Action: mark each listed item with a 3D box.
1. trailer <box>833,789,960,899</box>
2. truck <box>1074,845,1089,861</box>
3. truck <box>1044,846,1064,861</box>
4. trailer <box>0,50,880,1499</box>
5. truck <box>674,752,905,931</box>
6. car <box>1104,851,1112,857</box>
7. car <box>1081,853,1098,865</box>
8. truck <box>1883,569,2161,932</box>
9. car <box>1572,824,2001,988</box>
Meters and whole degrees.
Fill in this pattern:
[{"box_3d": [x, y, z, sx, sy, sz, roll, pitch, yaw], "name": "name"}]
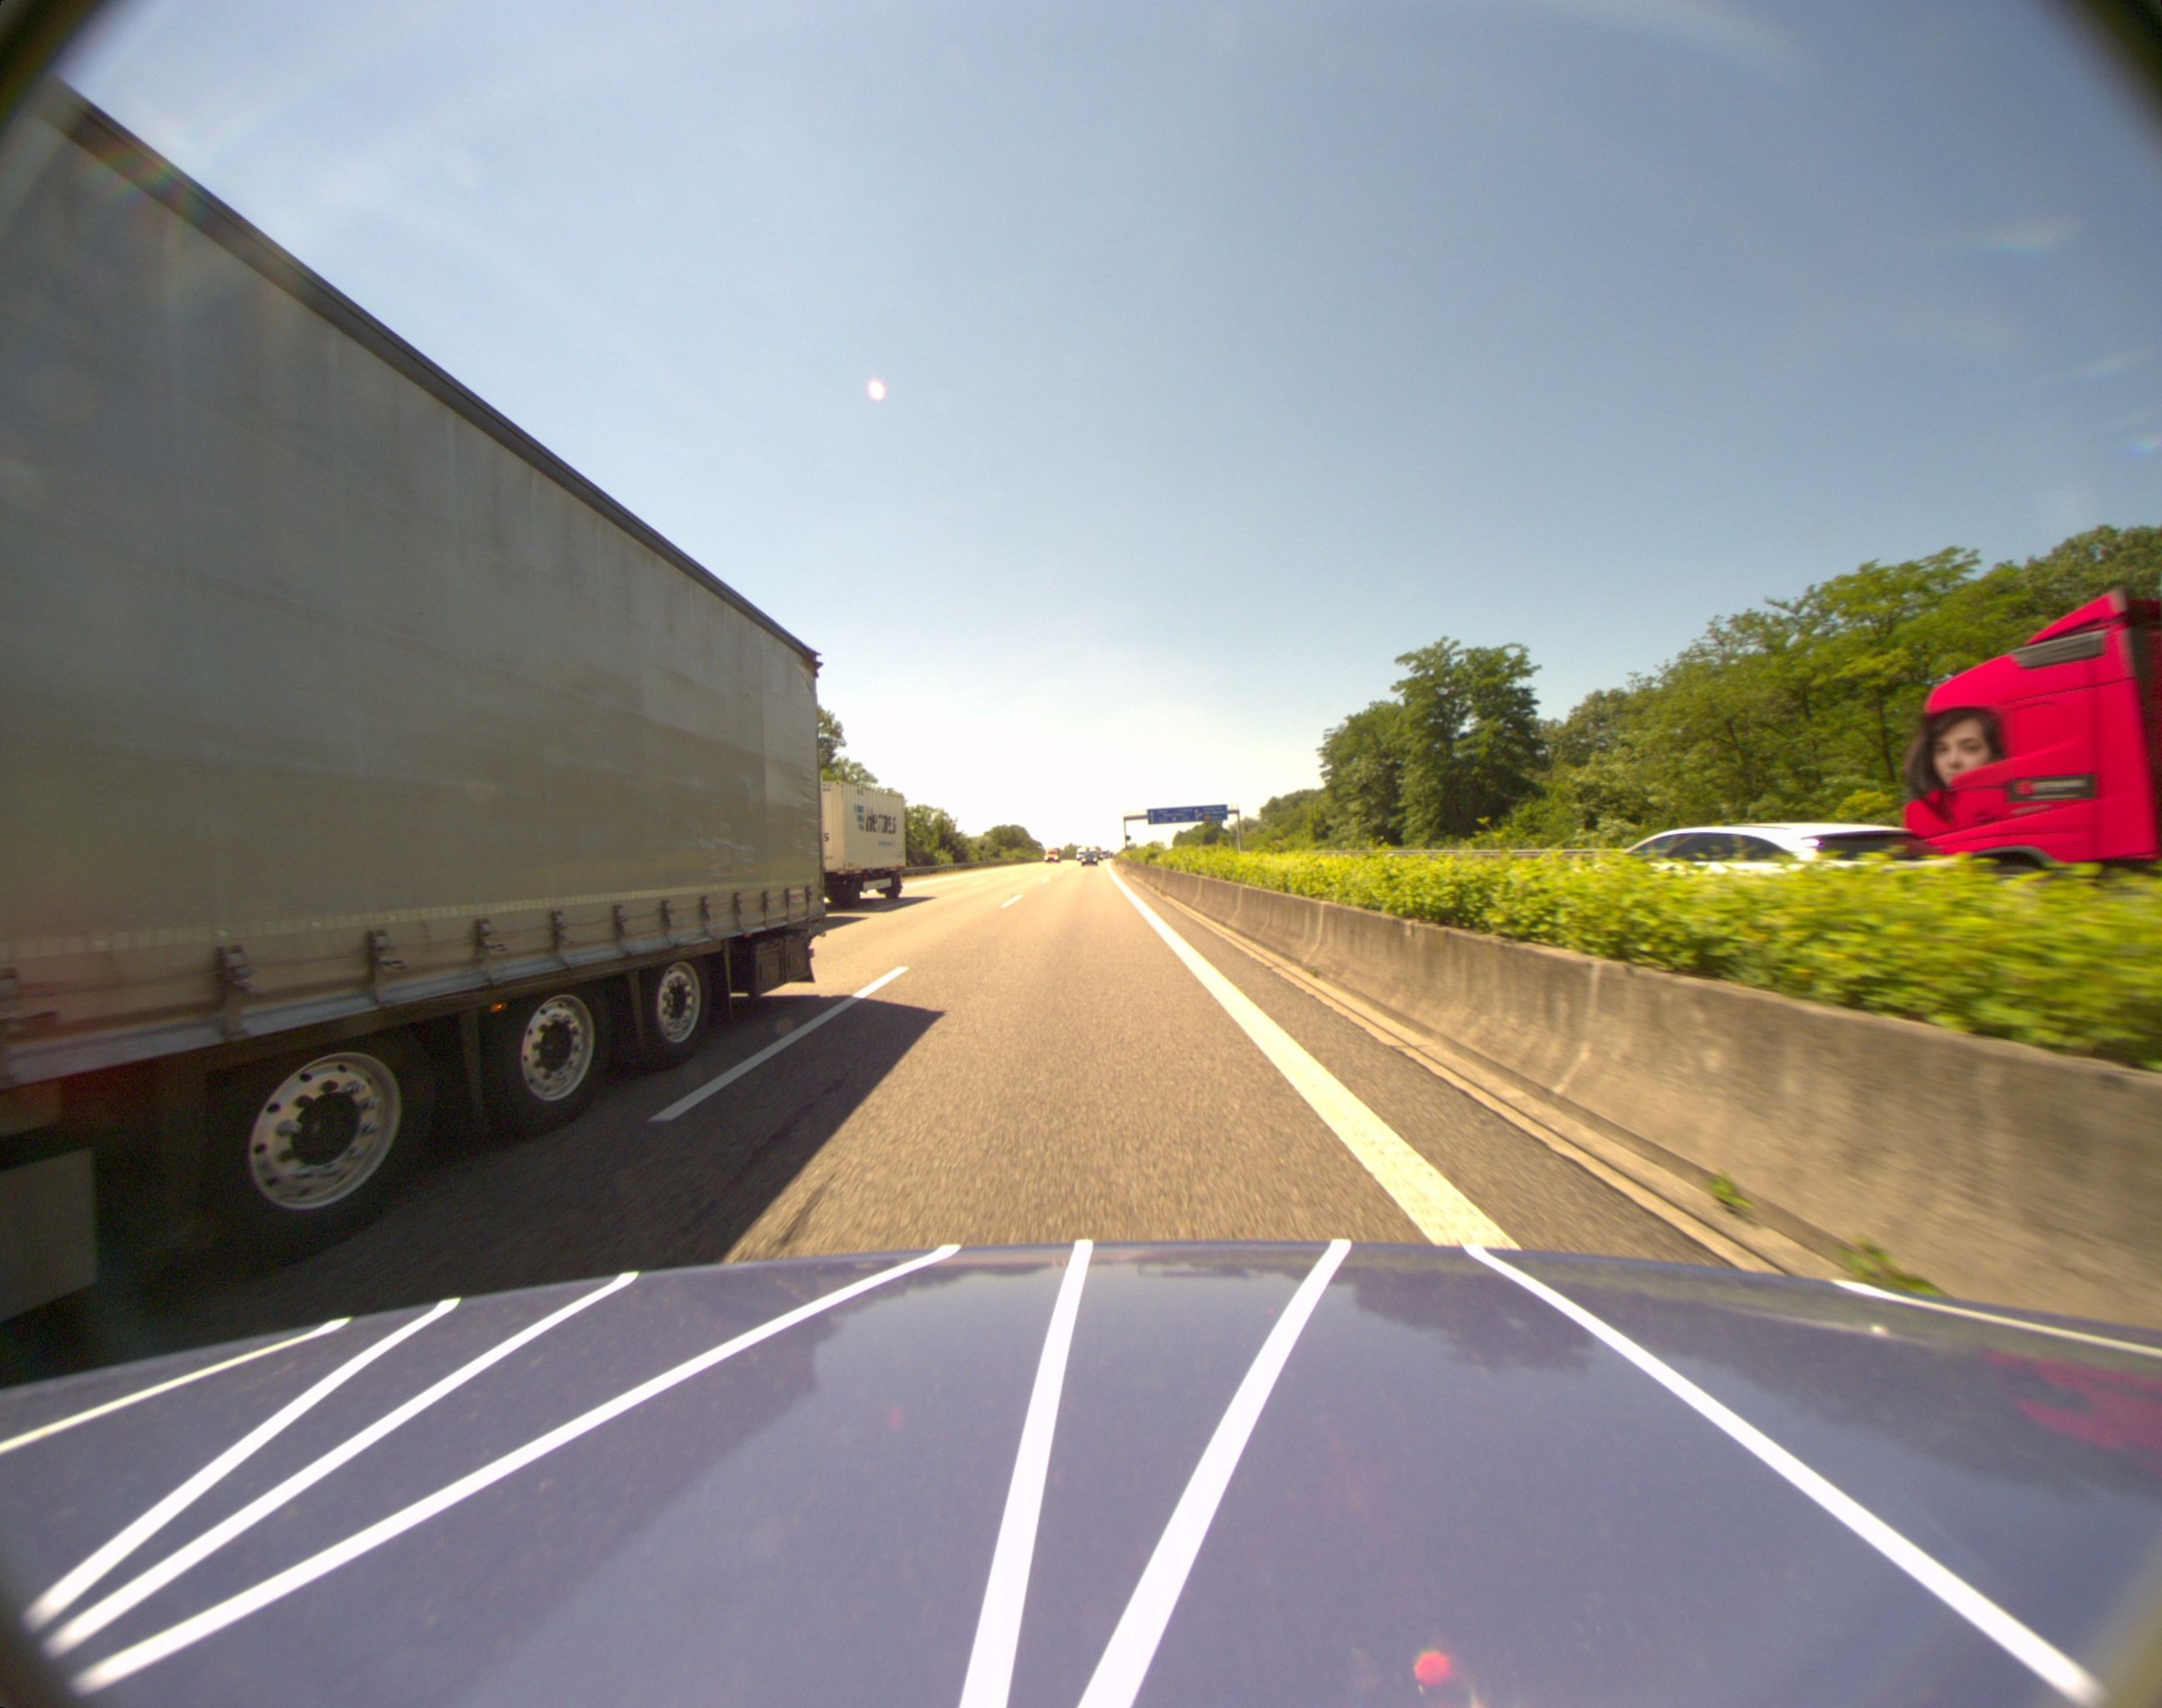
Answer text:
[{"box_3d": [-7.823, -0.420, 34.115, 2.561, 4.036, 11.263, -2, 0, 1], "name": "trailer"}, {"box_3d": [0.146, -0.195, 163.462, 2.858, 3.163, 10.712, -2, 0, 2], "name": "truck"}, {"box_3d": [-4.628, -0.101, 132.745, 2.436, 2.426, 10.011, -2, 0, 3], "name": "truck"}, {"box_3d": [-4.306, -0.227, 3.855, 2.747, 3.952, 13.652, -2, 0, 0], "name": "trailer"}, {"box_3d": [-8.050, -0.323, 23.119, 2.532, 4.106, 10.669, -2, 0, 1], "name": "truck"}, {"box_3d": [7.541, 0.107, 212.557, 1.879, 1.630, 4.000, -2, 0, 2], "name": "car"}, {"box_3d": [1.068, 0.579, 89.005, 1.800, 1.390, 4.834, -2, 0, 2], "name": "car"}, {"box_3d": [12.469, -1.108, 7.740, 2.471, 3.766, 5.728, -2, 1, -1], "name": "truck"}, {"box_3d": [8.406, 0.508, 9.652, 1.699, 1.592, 3.999, -2, 1, 0], "name": "car"}]
